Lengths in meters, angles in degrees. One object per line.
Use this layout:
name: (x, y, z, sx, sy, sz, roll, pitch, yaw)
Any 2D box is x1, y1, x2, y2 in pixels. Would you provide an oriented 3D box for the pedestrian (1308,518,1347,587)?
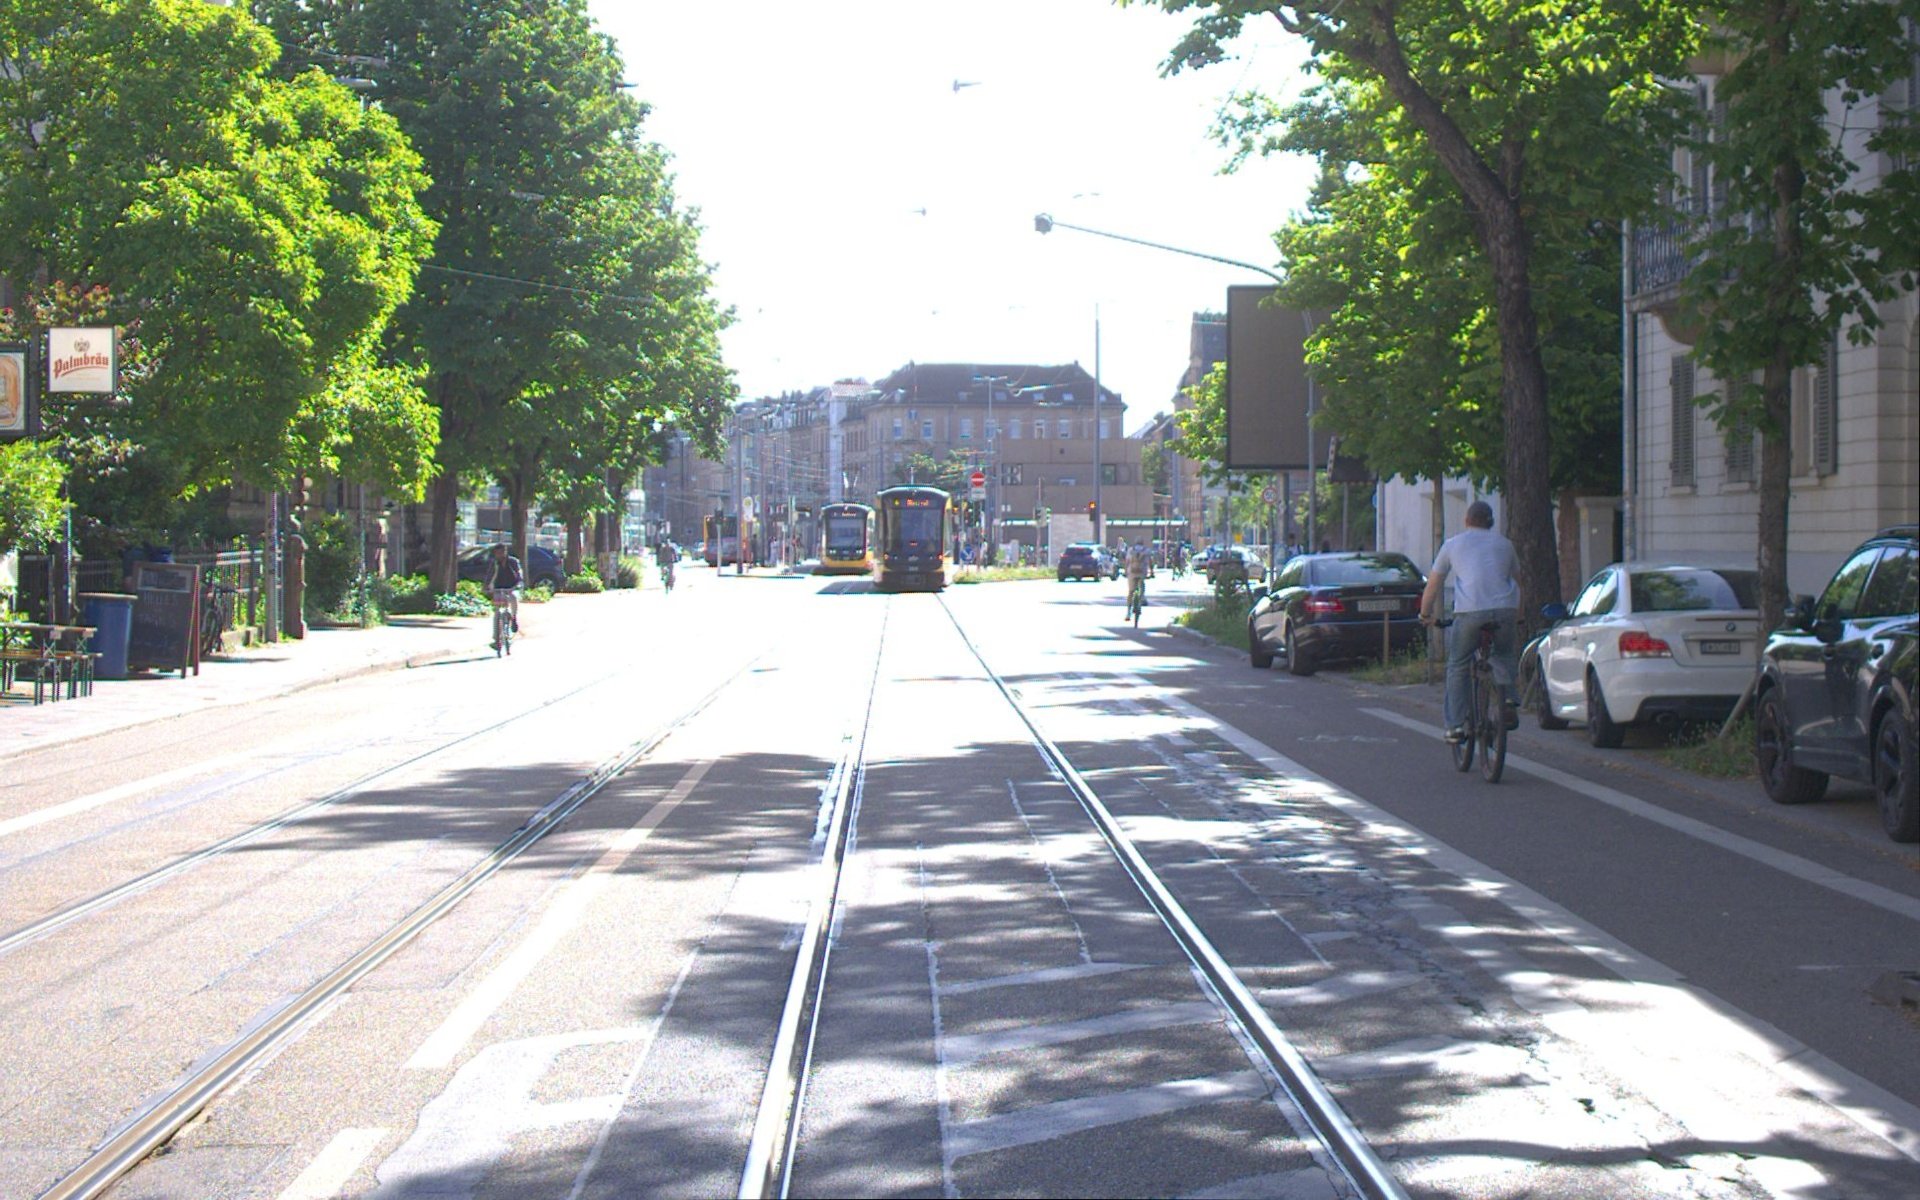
pedestrian: (8.815, -1.129, 82.490, 0.857, 1.635, 0.993, 0, -1, 2)

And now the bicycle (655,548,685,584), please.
bicycle: (-9.472, -1.115, 112.317, 0.687, 1.120, 1.931, -2, 1, 3)

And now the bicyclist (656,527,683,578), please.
bicyclist: (-9.488, -1.551, 112.291, 0.687, 1.639, 1.237, -2, 1, 3)

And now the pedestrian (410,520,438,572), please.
pedestrian: (-17.023, -1.722, 109.202, 0.700, 1.629, 0.759, 2, 1, -1)

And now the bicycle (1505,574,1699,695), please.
bicycle: (5.856, 0.313, 31.398, 1.619, 1.039, 0.685, -2, 1, 0)

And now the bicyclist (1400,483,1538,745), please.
bicyclist: (3.360, 0.081, 22.744, 0.738, 1.680, 0.972, 1, 1, 1)

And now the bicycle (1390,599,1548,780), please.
bicycle: (3.347, 0.565, 22.768, 0.738, 1.090, 2.111, 1, 1, 1)

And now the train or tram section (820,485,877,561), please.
train or tram section: (-5.553, -3.898, 172.074, 2.742, 3.639, 13.787, 0, 2, -2)

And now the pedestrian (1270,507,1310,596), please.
pedestrian: (6.931, -1.023, 72.234, 0.683, 1.843, 0.955, -1, 1, -2)

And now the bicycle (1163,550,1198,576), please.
bicycle: (9.387, -1.595, 146.459, 0.706, 1.051, 2.311, 3, 2, 24)

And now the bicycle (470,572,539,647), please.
bicycle: (-6.998, 0.143, 52.922, 0.745, 1.078, 1.899, -3, 1, 0)

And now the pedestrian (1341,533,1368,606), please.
pedestrian: (8.677, -0.672, 75.632, 0.518, 1.595, 0.764, 0, 1, 2)

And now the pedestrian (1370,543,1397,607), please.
pedestrian: (9.311, -0.563, 75.591, 0.518, 1.399, 0.764, 0, 1, 2)

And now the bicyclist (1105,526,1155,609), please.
bicyclist: (3.498, -0.672, 70.683, 0.705, 1.669, 1.100, 2, 2, 19)

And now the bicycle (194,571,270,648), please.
bicycle: (-10.417, 0.120, 49.229, 0.590, 1.042, 1.905, 2, 1, 2)

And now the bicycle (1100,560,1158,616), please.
bicycle: (3.485, -0.257, 70.695, 0.705, 1.101, 1.715, 2, 2, 19)

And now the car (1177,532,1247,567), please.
car: (12.205, -2.428, 166.110, 1.705, 1.638, 3.705, 2, 2, 34)

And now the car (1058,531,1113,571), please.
car: (5.269, -2.064, 143.573, 1.790, 1.599, 3.711, 2, 2, 9)

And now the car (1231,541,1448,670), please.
car: (4.684, 0.024, 43.114, 1.821, 1.453, 4.819, -2, 1, -4)

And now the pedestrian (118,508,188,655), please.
pedestrian: (-10.071, -0.235, 42.935, 0.576, 1.825, 0.689, 1, 1, 18)

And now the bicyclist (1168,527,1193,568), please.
bicyclist: (9.402, -2.250, 146.419, 0.706, 1.694, 0.986, 3, 2, 24)

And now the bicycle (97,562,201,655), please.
bicycle: (-10.508, 0.097, 44.618, 0.646, 1.139, 1.904, 2, 1, 7)

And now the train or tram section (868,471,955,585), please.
train or tram section: (-1.742, -2.491, 117.391, 2.742, 3.639, 13.787, 0, 2, -2)

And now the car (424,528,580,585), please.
car: (-13.102, -1.239, 98.383, 3.986, 1.544, 1.878, 1, 1, -28)

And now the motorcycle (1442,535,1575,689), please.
motorcycle: (5.581, 0.090, 35.139, 0.913, 1.483, 2.679, -2, 1, 1)

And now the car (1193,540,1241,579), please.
car: (10.786, -1.712, 144.458, 1.789, 1.506, 3.713, 1, 1, 2)

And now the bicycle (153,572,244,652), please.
bicycle: (-10.445, 0.150, 47.207, 0.590, 1.042, 1.904, 1, 1, 7)

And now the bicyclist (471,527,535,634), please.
bicyclist: (-7.022, -0.307, 52.914, 0.745, 1.594, 1.118, -3, 1, 0)

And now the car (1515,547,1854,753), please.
car: (5.493, 0.321, 26.569, 1.724, 1.377, 4.356, -2, 1, 1)

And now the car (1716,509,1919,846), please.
car: (5.577, 0.318, 18.817, 1.810, 1.620, 4.584, -2, 1, 0)
